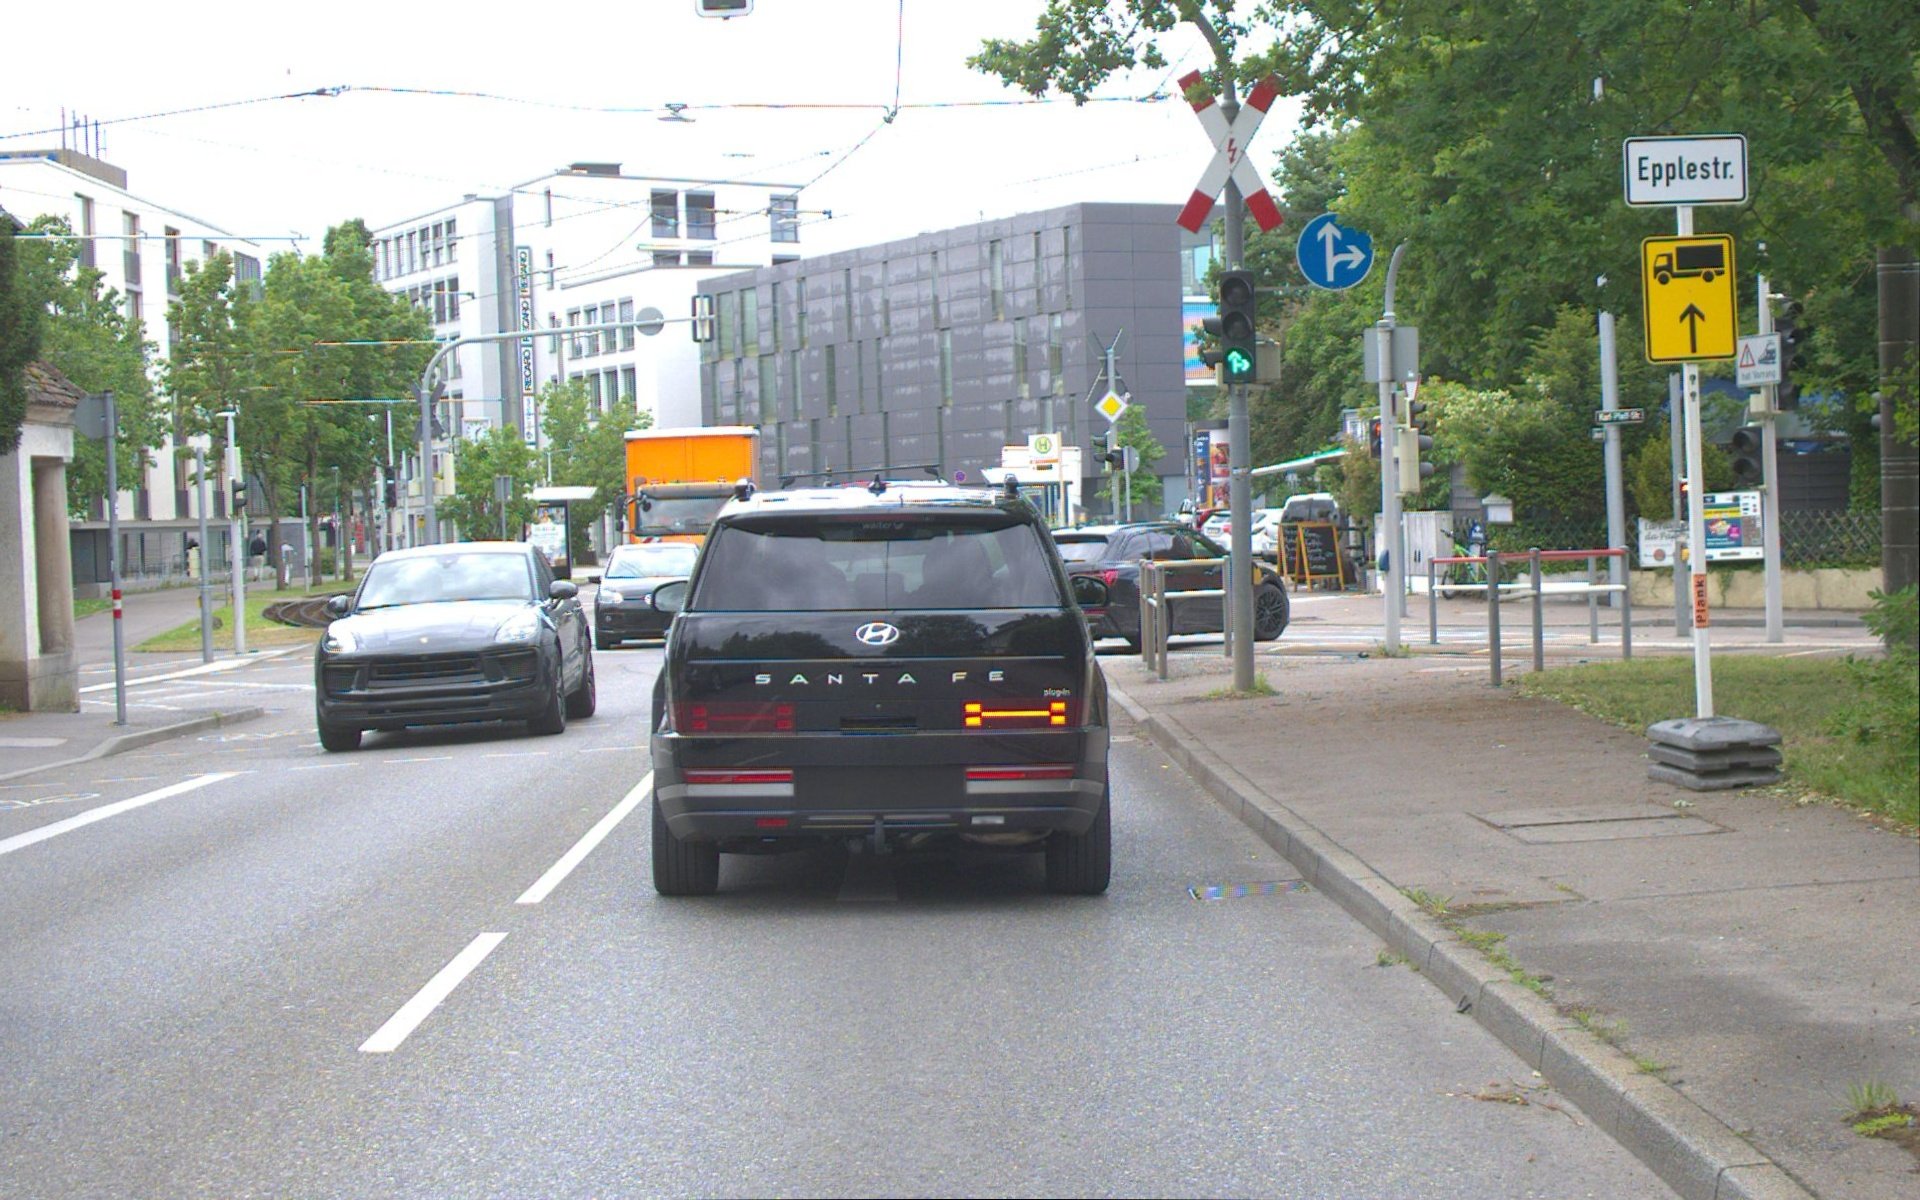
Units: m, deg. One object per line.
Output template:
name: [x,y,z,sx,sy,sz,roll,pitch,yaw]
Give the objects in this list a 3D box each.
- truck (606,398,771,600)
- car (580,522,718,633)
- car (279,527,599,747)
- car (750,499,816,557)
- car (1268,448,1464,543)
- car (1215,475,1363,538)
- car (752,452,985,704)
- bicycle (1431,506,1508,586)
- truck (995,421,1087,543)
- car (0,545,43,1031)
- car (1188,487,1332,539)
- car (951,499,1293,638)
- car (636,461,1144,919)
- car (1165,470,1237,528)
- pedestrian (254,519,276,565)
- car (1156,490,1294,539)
truck: [-5.485,-2.056,70.806,2.769,3.706,8.470,-5,2,-2]
car: [-4.390,-0.347,48.998,1.664,1.444,3.828,-2,2,-2]
car: [-4.247,0.238,28.728,1.939,1.526,4.527,-4,2,-1]
car: [-5.416,-2.235,105.463,1.788,1.655,4.277,-3,2,-1]
car: [8.434,-2.183,71.109,1.849,1.742,4.686,-1,3,37]
car: [8.914,-2.534,93.160,3.638,1.430,1.592,-5,1,-28]
car: [-0.808,-0.265,30.820,1.855,2.026,4.438,-2,2,-1]
bicycle: [8.173,-0.877,55.198,0.548,1.135,1.879,-2,5,-13]
truck: [2.448,-3.614,105.387,2.573,3.513,7.811,-2,2,1]
car: [-3.796,0.659,8.733,1.725,1.457,4.154,-3,2,0]
car: [8.664,-2.504,99.217,3.791,1.468,1.798,-1,1,-31]
car: [1.933,-0.394,39.446,1.997,1.458,4.511,-1,2,31]
car: [-0.379,0.275,15.169,1.915,1.719,4.171,-1,2,-3]
car: [8.336,-3.479,119.045,1.993,1.831,4.518,-4,1,-1]
pedestrian: [-25.490,-2.129,126.113,0.613,1.688,0.785,-1,1,-1]
car: [8.059,-2.603,104.612,3.790,1.468,1.799,-1,1,-26]
